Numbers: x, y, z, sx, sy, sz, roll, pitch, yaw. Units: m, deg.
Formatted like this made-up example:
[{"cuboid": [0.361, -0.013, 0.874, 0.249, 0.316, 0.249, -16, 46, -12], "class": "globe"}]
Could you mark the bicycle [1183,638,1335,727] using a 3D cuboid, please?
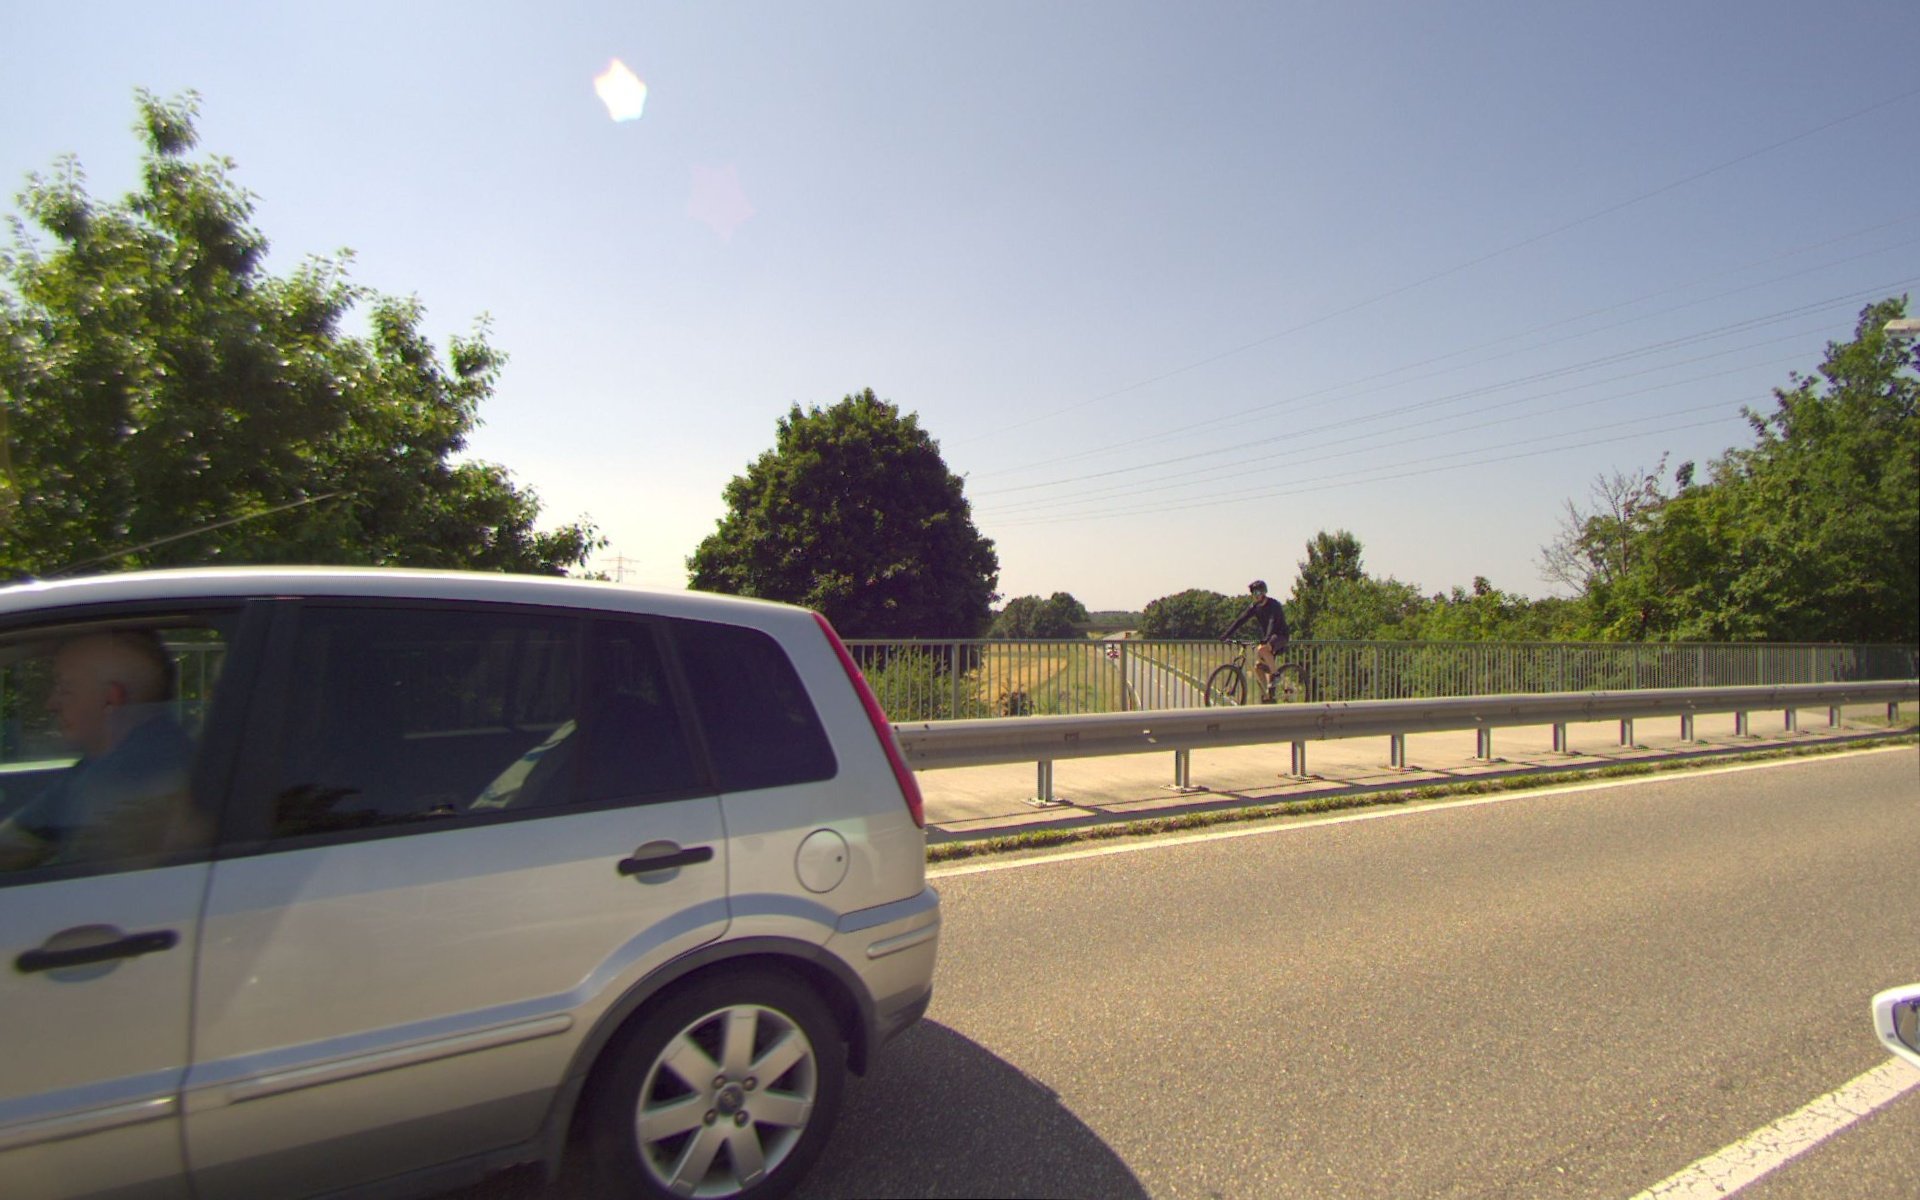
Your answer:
[{"cuboid": [3.890, 1.032, 12.987, 2.095, 1.015, 0.673, 0, 0, -33], "class": "bicycle"}]

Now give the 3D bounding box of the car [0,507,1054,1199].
[{"cuboid": [-1.738, 0.622, 2.478, 3.622, 1.537, 1.659, 2, -1, -30], "class": "car"}]

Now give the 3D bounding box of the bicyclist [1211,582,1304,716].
[{"cuboid": [3.836, 0.606, 12.953, 0.885, 1.655, 0.761, 0, 0, -32], "class": "bicyclist"}]
